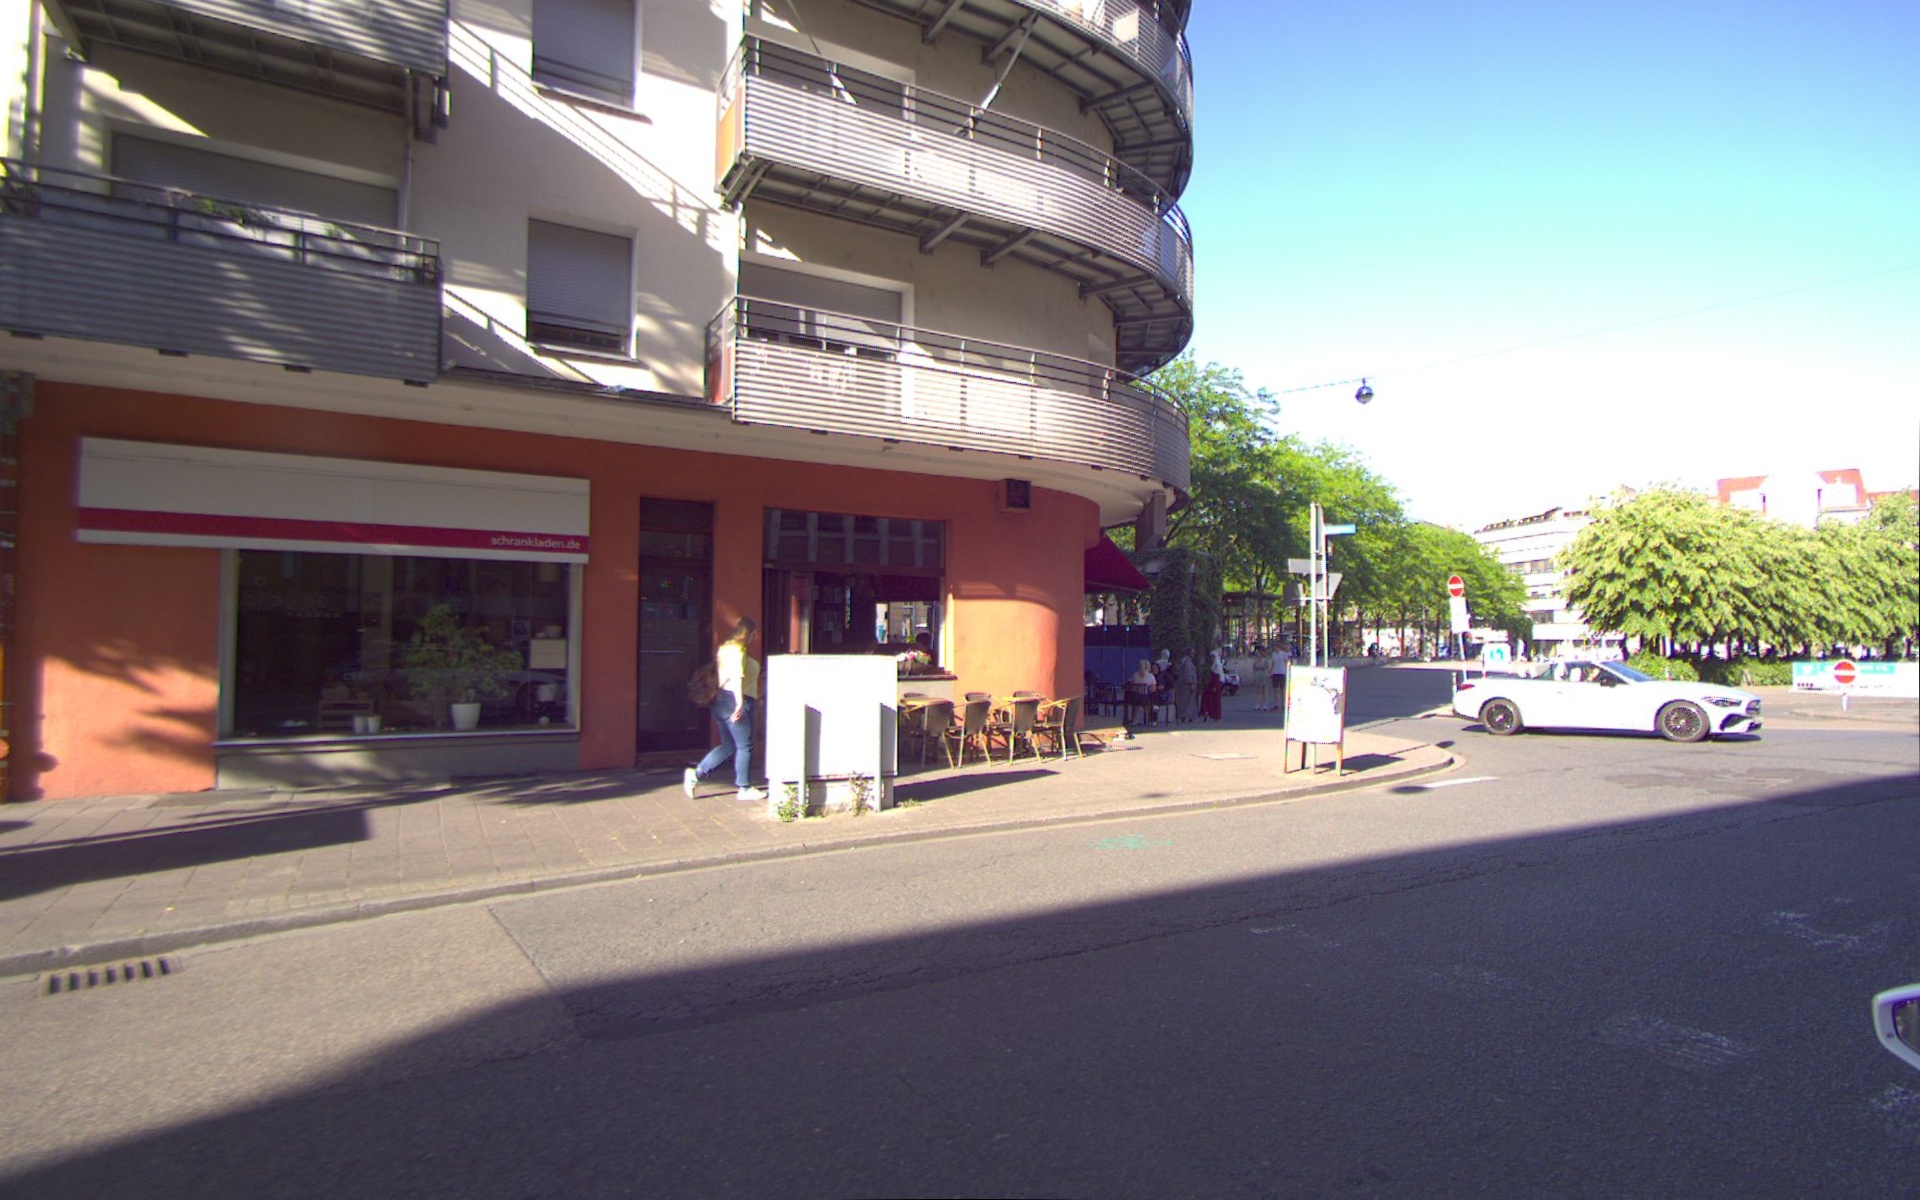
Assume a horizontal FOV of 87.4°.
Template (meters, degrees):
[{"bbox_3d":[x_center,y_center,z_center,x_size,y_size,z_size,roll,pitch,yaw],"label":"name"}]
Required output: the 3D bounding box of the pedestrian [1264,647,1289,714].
[{"bbox_3d":[8.867,2.241,28.128,0.577,1.851,0.558,-1,-3,27],"label":"pedestrian"}]

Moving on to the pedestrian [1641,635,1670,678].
[{"bbox_3d":[34.996,2.825,50.549,0.949,2.135,0.734,1,-2,-7],"label":"pedestrian"}]

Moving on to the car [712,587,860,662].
[{"bbox_3d":[-5.271,0.806,30.258,4.282,2.075,2.028,-3,-5,37],"label":"car"}]

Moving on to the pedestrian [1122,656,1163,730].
[{"bbox_3d":[3.457,1.742,19.003,0.565,1.357,0.699,-1,-3,32],"label":"pedestrian"}]

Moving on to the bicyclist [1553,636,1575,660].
[{"bbox_3d":[43.758,3.484,72.760,1.199,1.722,0.958,2,-2,-35],"label":"bicyclist"}]

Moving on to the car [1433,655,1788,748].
[{"bbox_3d":[11.602,1.762,18.279,1.985,1.441,5.058,3,-5,-41],"label":"car"}]

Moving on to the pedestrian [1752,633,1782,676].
[{"bbox_3d":[40.882,2.744,50.891,0.949,2.135,0.734,1,-2,-7],"label":"pedestrian"}]

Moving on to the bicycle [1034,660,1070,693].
[{"bbox_3d":[3.371,2.764,36.595,0.497,1.146,1.961,-1,-3,31],"label":"bicycle"}]

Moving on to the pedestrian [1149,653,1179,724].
[{"bbox_3d":[4.551,1.950,22.352,0.563,1.555,0.700,0,-3,19],"label":"pedestrian"}]

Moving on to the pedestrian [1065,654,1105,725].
[{"bbox_3d":[2.491,1.768,20.022,0.565,1.357,0.699,-1,-3,32],"label":"pedestrian"}]

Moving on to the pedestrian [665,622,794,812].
[{"bbox_3d":[-2.172,1.059,9.468,1.024,1.681,0.662,2,-3,-30],"label":"pedestrian"}]

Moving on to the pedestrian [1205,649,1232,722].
[{"bbox_3d":[5.699,1.871,22.132,0.531,1.555,0.553,0,-2,19],"label":"pedestrian"}]

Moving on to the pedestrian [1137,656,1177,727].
[{"bbox_3d":[3.871,1.775,19.723,0.565,1.357,0.699,-1,-3,32],"label":"pedestrian"}]

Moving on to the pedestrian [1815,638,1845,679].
[{"bbox_3d":[45.831,3.059,52.908,0.949,2.135,0.734,1,-2,-7],"label":"pedestrian"}]

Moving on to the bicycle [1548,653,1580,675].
[{"bbox_3d":[43.760,4.648,72.753,2.662,1.523,0.958,2,-3,-35],"label":"bicycle"}]

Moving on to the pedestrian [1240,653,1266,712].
[{"bbox_3d":[8.292,2.328,28.404,0.605,1.634,0.582,-1,-3,27],"label":"pedestrian"}]

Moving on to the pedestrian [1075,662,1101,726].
[{"bbox_3d":[2.805,2.047,21.970,0.563,1.357,0.701,0,-2,8],"label":"pedestrian"}]

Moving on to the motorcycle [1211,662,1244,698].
[{"bbox_3d":[9.377,2.788,35.238,0.497,1.224,1.693,1,-3,-8],"label":"motorcycle"}]

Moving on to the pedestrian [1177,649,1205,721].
[{"bbox_3d":[5.097,1.854,22.155,0.531,1.555,0.687,0,-3,19],"label":"pedestrian"}]
